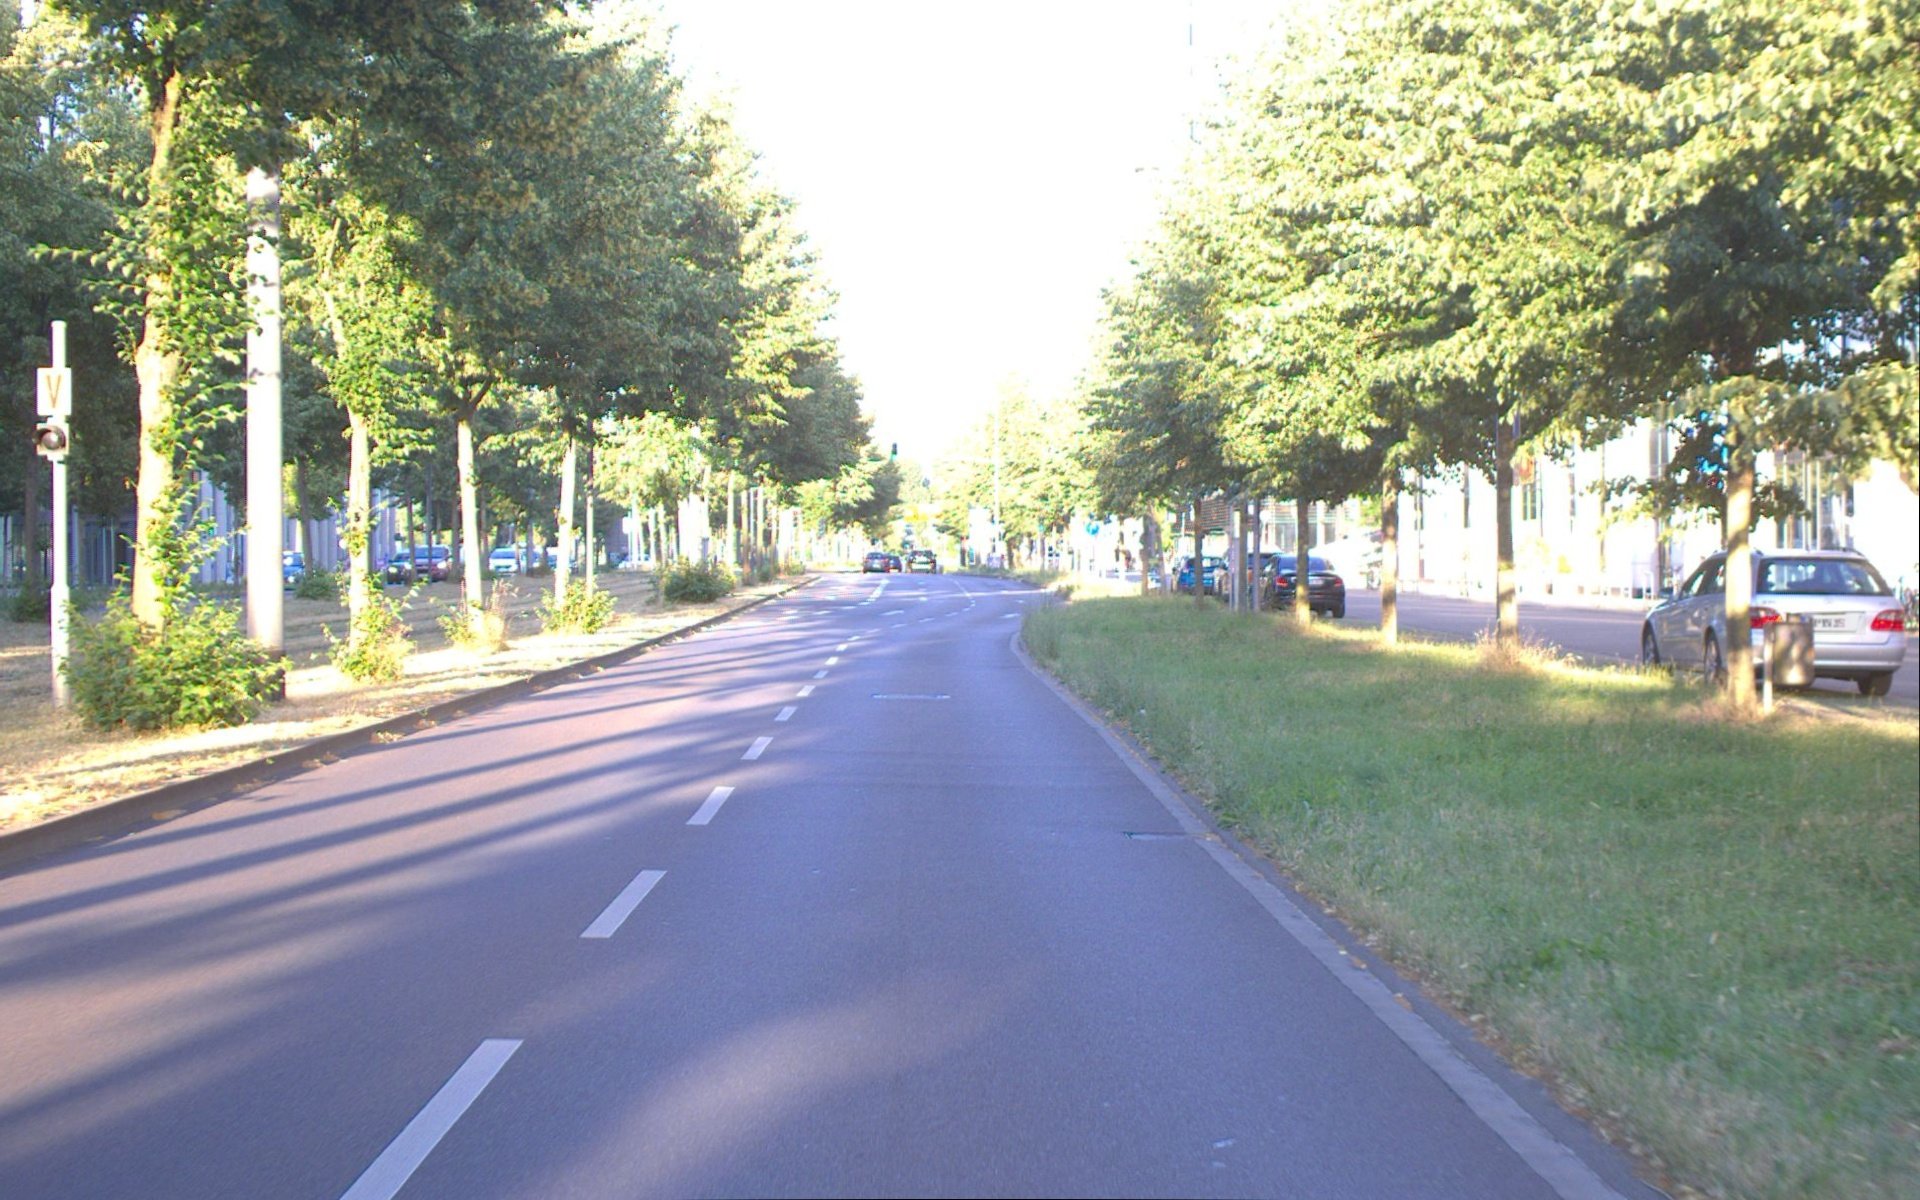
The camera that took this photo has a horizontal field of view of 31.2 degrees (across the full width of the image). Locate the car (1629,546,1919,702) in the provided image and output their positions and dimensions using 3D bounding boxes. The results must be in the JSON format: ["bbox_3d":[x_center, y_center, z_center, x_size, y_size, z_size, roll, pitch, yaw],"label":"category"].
[{"bbox_3d":[8.349,0.195,35.568,1.808,1.496,4.826,0,1,-1],"label":"car"}]

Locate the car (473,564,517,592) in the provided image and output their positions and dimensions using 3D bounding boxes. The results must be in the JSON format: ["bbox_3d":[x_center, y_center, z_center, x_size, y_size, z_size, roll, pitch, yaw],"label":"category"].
[{"bbox_3d":[-22.345,-1.082,165.335,1.657,1.327,4.530,0,1,-2],"label":"car"}]

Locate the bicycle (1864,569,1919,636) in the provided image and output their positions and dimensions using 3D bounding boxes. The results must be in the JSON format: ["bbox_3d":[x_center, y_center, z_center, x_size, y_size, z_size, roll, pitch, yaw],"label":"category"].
[{"bbox_3d":[15.208,0.034,55.833,0.533,1.057,1.857,0,1,0],"label":"bicycle"}]

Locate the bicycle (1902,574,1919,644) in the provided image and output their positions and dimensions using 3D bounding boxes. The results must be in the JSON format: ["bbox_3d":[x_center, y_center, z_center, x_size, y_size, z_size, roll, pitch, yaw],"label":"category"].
[{"bbox_3d":[15.165,0.139,53.338,0.533,1.057,1.857,-2,1,0],"label":"bicycle"}]

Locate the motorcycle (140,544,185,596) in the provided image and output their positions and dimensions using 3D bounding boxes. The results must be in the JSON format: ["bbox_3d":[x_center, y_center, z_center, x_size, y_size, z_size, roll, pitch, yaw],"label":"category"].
[{"bbox_3d":[-21.006,-0.794,90.589,0.682,1.332,2.345,0,1,-1],"label":"motorcycle"}]

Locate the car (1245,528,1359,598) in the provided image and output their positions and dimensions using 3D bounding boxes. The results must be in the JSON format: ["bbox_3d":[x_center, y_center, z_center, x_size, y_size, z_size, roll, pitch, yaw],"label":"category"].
[{"bbox_3d":[7.854,-0.853,79.373,1.943,1.543,4.812,0,1,-3],"label":"car"}]

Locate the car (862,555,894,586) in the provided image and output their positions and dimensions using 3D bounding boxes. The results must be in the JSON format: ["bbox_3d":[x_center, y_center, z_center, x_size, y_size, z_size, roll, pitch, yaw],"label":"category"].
[{"bbox_3d":[-5.404,-1.937,226.716,2.087,2.007,4.000,0,1,-1],"label":"car"}]

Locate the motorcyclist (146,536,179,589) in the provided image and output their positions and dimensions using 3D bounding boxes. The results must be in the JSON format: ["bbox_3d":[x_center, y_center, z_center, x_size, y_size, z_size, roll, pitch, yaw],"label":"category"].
[{"bbox_3d":[-20.998,-0.986,90.509,0.681,1.371,0.805,0,1,-2],"label":"motorcyclist"}]

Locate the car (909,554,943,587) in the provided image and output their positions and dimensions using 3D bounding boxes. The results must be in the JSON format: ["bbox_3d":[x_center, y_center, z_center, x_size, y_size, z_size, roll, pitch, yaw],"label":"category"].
[{"bbox_3d":[-2.079,-1.825,210.364,1.993,2.007,4.000,0,1,-1],"label":"car"}]

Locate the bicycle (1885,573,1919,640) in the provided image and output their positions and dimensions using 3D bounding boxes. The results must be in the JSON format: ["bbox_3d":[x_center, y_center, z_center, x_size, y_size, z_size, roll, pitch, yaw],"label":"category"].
[{"bbox_3d":[15.814,0.093,56.783,0.533,1.057,1.857,-2,1,0],"label":"bicycle"}]

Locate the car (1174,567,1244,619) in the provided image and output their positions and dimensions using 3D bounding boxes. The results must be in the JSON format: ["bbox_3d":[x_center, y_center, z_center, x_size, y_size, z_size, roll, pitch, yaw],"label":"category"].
[{"bbox_3d":[7.625,-0.238,105.491,1.724,1.524,4.269,1,1,-1],"label":"car"}]

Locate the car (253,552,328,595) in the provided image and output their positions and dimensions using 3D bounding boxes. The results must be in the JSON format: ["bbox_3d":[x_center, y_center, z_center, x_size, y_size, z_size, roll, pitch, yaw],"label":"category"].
[{"bbox_3d":[-24.240,-0.971,124.550,1.918,1.503,4.287,0,1,-1],"label":"car"}]

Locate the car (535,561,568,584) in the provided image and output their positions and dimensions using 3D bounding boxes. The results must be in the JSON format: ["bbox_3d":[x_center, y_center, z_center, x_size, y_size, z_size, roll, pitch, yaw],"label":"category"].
[{"bbox_3d":[-25.195,-1.701,212.101,1.776,1.406,3.709,0,1,-3],"label":"car"}]

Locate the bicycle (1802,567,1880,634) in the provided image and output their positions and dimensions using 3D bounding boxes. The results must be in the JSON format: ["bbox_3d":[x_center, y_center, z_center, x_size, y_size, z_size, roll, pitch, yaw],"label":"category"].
[{"bbox_3d":[14.515,0.002,56.675,0.533,1.057,1.781,-2,1,-10],"label":"bicycle"}]

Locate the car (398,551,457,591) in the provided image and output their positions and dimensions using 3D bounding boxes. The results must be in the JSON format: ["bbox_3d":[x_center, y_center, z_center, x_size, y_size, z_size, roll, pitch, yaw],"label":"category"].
[{"bbox_3d":[-21.779,-1.190,140.648,1.885,1.572,4.183,0,1,-2],"label":"car"}]

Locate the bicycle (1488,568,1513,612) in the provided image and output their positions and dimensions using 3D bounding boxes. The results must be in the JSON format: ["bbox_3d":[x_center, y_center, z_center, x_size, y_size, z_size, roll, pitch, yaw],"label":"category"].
[{"bbox_3d":[14.565,-0.271,92.603,0.571,1.120,1.833,-2,1,11],"label":"bicycle"}]

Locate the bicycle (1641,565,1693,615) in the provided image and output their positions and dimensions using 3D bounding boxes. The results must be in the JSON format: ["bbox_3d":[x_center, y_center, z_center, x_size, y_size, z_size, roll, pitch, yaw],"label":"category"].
[{"bbox_3d":[14.897,-0.225,72.455,0.652,1.035,2.055,0,1,0],"label":"bicycle"}]

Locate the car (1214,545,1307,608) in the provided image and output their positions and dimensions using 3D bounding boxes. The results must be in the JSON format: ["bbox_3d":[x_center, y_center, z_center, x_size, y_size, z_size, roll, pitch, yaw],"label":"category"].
[{"bbox_3d":[7.553,-0.604,86.817,1.854,1.524,4.483,1,1,-1],"label":"car"}]
